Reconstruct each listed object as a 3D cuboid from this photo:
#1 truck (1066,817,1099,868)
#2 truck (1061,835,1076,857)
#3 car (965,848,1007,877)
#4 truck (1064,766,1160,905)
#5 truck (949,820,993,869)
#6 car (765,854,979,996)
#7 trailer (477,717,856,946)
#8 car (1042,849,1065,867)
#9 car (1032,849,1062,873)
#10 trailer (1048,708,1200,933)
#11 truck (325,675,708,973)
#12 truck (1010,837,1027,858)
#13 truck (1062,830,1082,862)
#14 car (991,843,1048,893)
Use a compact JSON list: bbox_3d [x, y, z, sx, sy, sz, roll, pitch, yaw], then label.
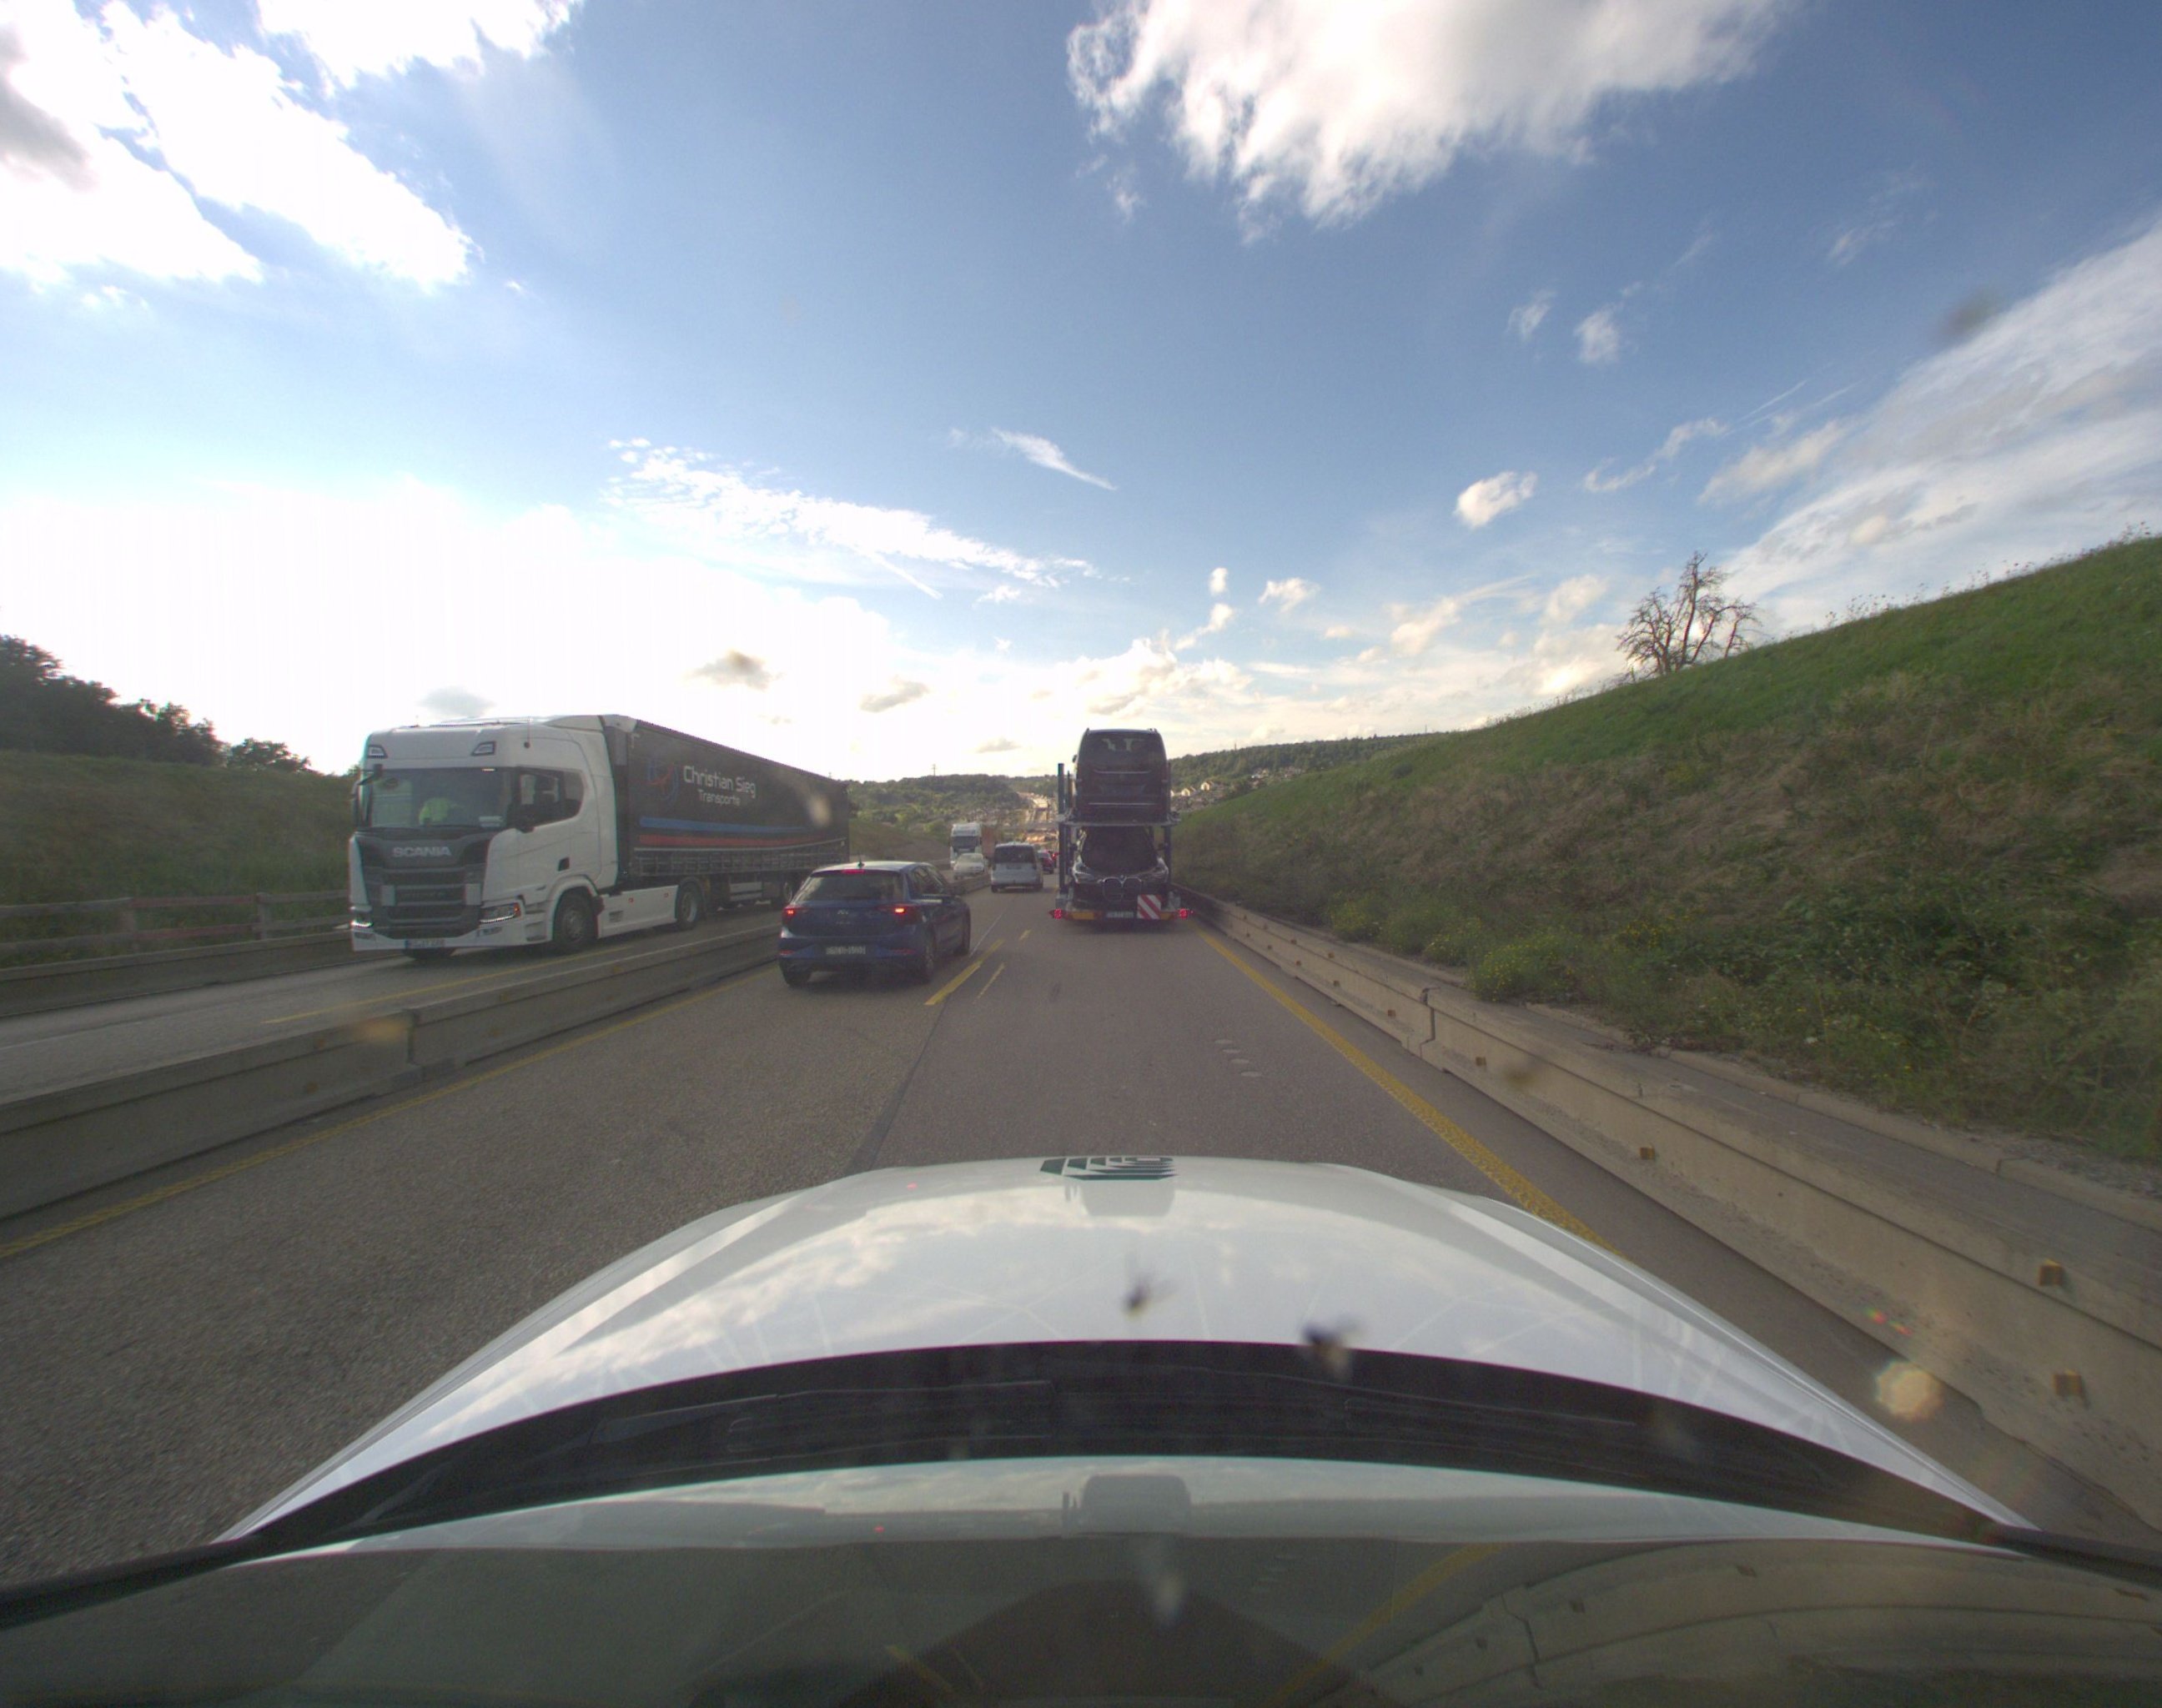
[{"bbox_3d":[0.024,-1.072,80.392,2.856,4.570,11.651,-1,0,-1],"label":"truck"},{"bbox_3d":[-2.731,-1.661,172.252,2.856,4.570,11.651,-1,0,-1],"label":"truck"},{"bbox_3d":[-5.905,0.500,51.162,1.941,1.747,5.579,-1,0,0],"label":"car"},{"bbox_3d":[0.935,-0.549,26.295,2.668,3.922,6.028,-1,0,1],"label":"truck"},{"bbox_3d":[-9.917,-0.843,74.467,2.631,4.099,10.813,-1,0,-1],"label":"truck"},{"bbox_3d":[-2.519,0.773,10.821,1.708,1.508,4.001,-1,0,1],"label":"car"},{"bbox_3d":[-9.191,-0.443,21.222,2.606,3.953,13.874,-1,0,0],"label":"trailer"},{"bbox_3d":[-2.517,0.339,74.386,1.988,1.625,4.747,-1,0,-1],"label":"car"},{"bbox_3d":[-2.208,0.427,53.841,1.817,1.492,4.683,0,1,-1],"label":"car"},{"bbox_3d":[0.871,-0.644,20.538,2.699,4.028,11.421,-1,0,1],"label":"trailer"},{"bbox_3d":[-9.298,-0.446,14.396,2.606,4.153,5.781,-1,0,0],"label":"truck"},{"bbox_3d":[-12.462,-1.287,162.741,2.630,4.099,10.816,-1,0,0],"label":"truck"},{"bbox_3d":[-1.450,-1.223,124.864,2.856,4.570,11.651,-1,0,-1],"label":"truck"},{"bbox_3d":[-2.302,0.471,31.735,1.817,1.823,4.457,0,1,1],"label":"car"}]
